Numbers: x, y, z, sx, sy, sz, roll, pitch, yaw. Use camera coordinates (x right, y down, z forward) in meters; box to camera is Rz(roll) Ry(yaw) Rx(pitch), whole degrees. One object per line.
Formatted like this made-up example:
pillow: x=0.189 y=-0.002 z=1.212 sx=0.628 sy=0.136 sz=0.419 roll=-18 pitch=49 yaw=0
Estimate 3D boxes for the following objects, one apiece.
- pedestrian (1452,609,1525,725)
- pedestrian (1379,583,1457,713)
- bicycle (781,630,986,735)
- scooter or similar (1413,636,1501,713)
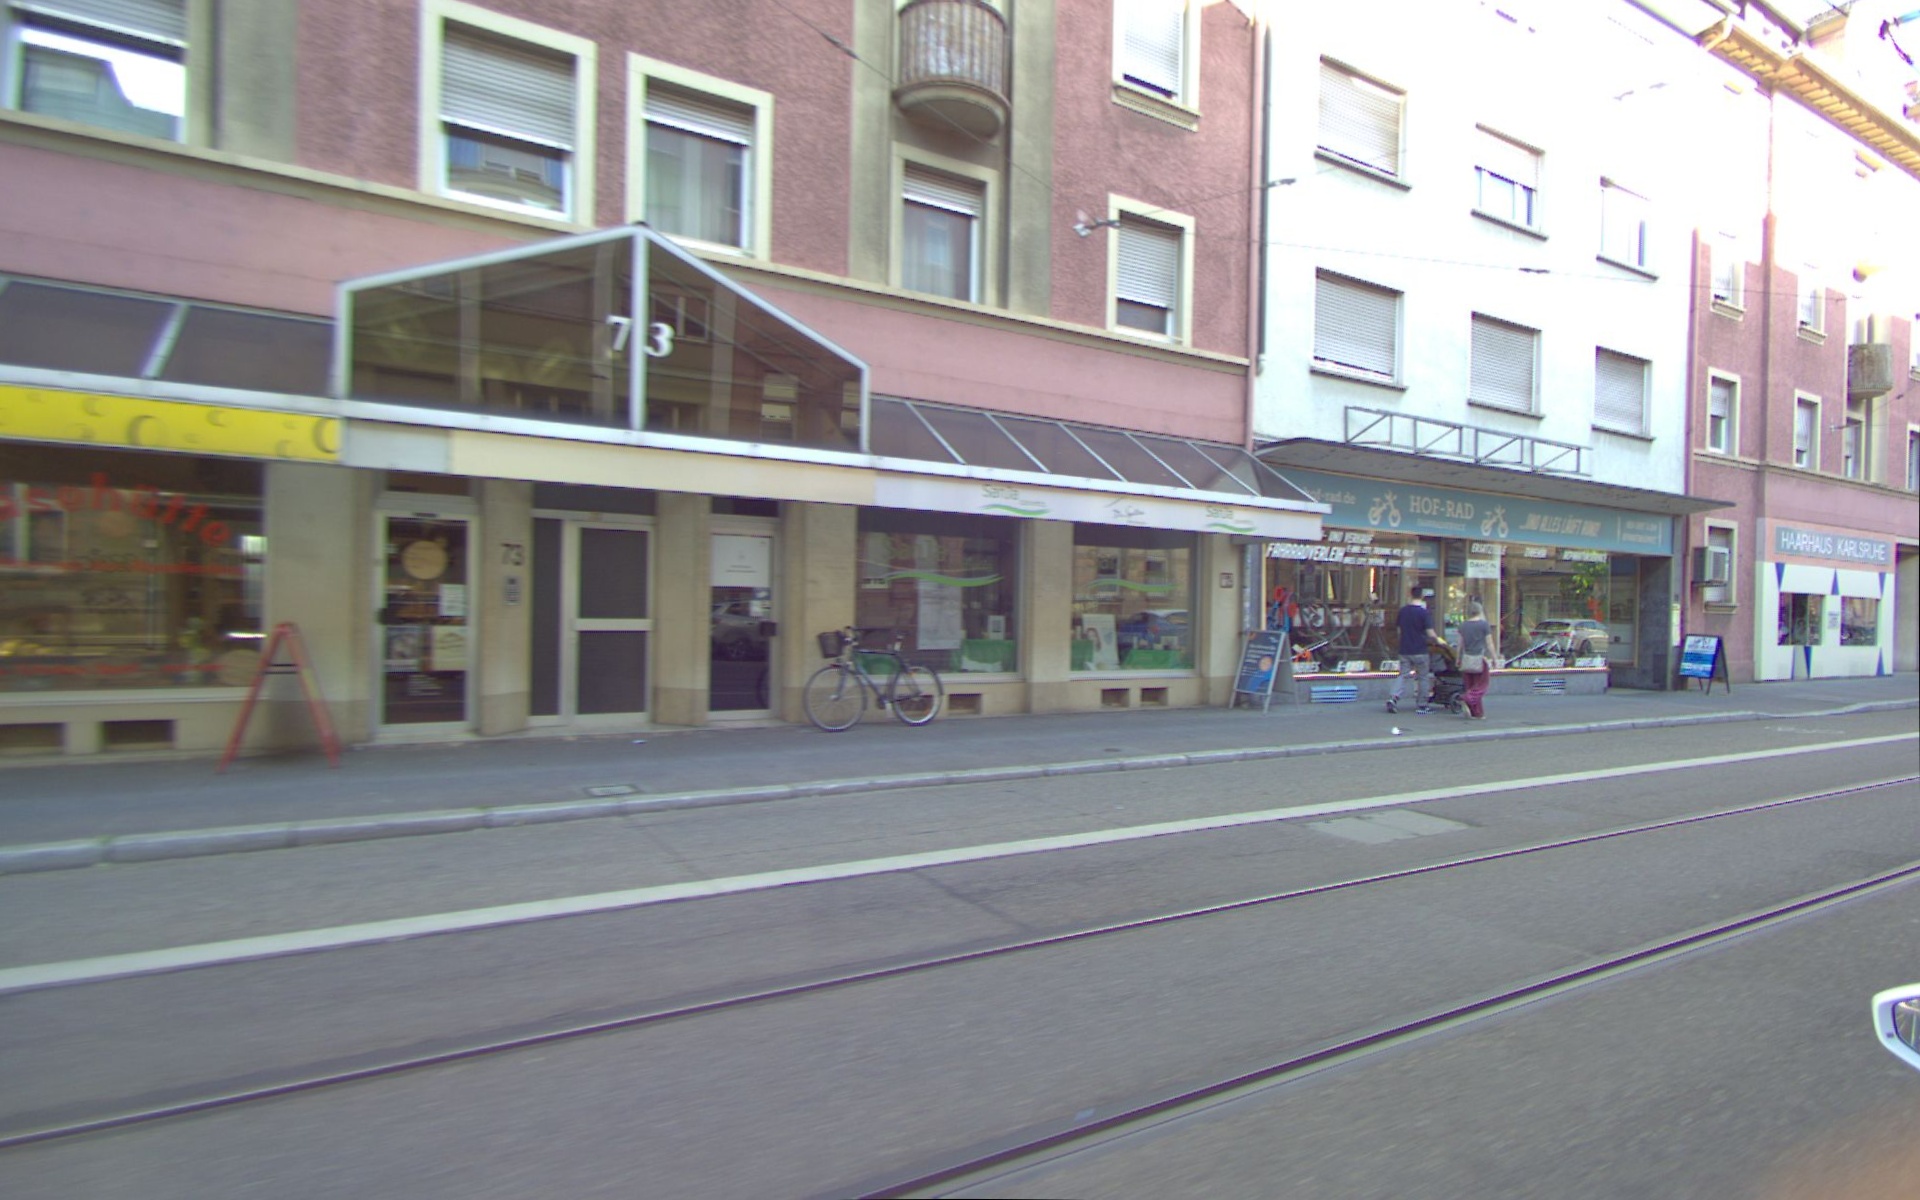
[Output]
pedestrian: x=7.421 y=0.928 z=14.111 sx=0.616 sy=1.569 sz=0.633 roll=1 pitch=0 yaw=-31
pedestrian: x=6.593 y=0.678 z=14.465 sx=0.811 sy=1.813 sz=0.622 roll=1 pitch=0 yaw=-31
bicycle: x=-0.808 y=0.893 z=11.171 sx=2.303 sy=1.074 sz=0.422 roll=2 pitch=0 yaw=-31
scooter or similar: x=7.414 y=1.089 z=14.983 sx=1.092 sy=1.075 sz=0.658 roll=1 pitch=1 yaw=-30
